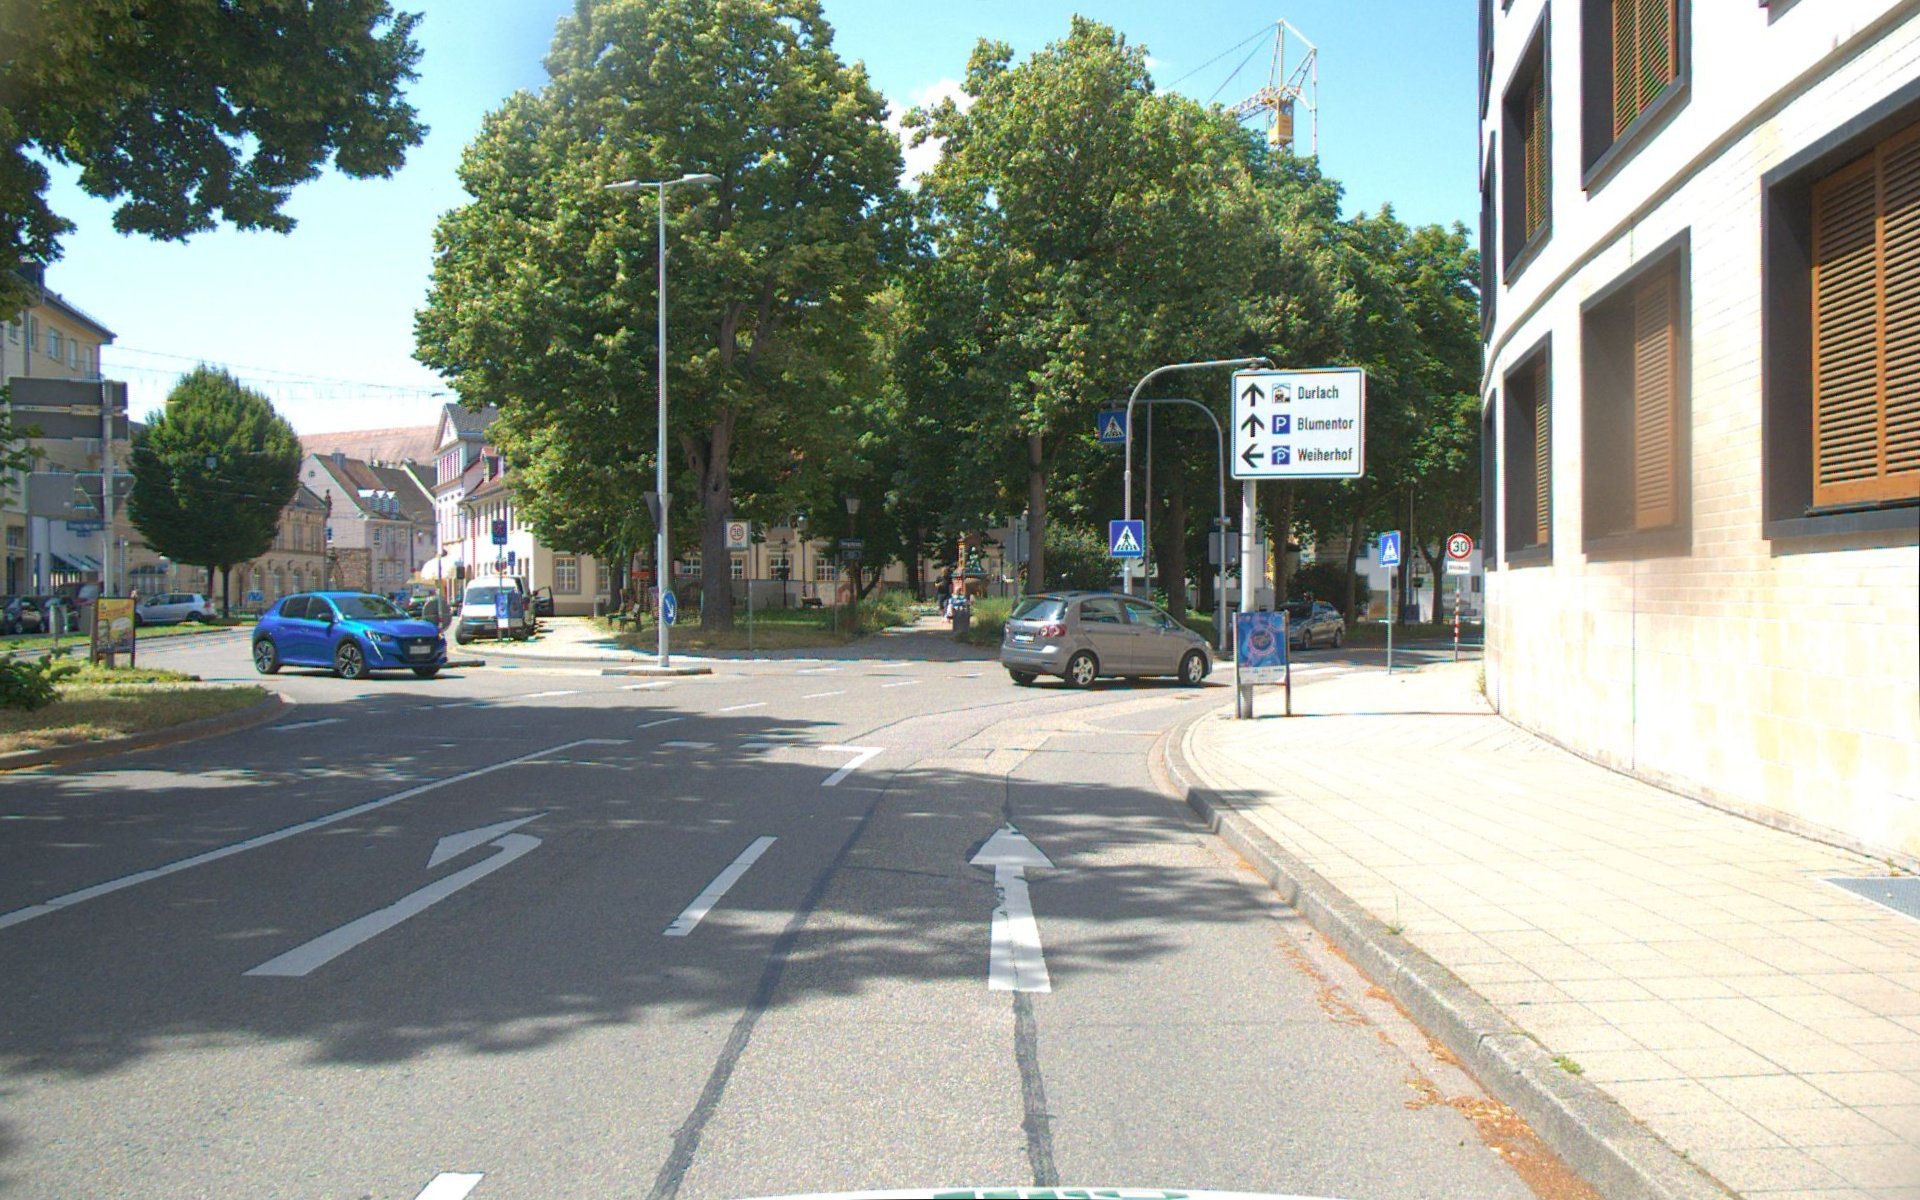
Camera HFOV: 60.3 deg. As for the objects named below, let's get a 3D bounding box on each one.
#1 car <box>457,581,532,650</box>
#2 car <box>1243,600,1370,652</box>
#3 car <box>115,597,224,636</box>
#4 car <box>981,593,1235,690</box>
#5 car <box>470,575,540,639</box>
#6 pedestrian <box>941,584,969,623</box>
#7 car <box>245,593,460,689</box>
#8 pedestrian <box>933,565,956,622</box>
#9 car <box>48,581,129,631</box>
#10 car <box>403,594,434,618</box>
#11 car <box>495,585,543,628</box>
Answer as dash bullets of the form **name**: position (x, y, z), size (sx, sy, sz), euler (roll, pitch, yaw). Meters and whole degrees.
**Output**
- **car**: position (-13.218, 0.395, 47.158), size (1.960, 1.858, 4.405), euler (0, 0, -14)
- **car**: position (10.760, 0.760, 51.211), size (4.373, 1.514, 1.715), euler (0, 0, -44)
- **car**: position (-35.718, 0.712, 74.870), size (4.139, 1.531, 1.993), euler (-3, 1, -19)
- **car**: position (2.604, 0.670, 28.740), size (4.194, 1.560, 1.886), euler (0, 0, -35)
- **car**: position (-15.181, 0.208, 55.401), size (2.014, 2.037, 5.232), euler (0, 0, -13)
- **pedestrian**: position (-0.161, 0.122, 55.396), size (0.887, 1.273, 1.148), euler (0, 2, 1)
- **car**: position (-10.766, 0.665, 29.225), size (3.924, 1.518, 1.807), euler (1, 2, 39)
- **pedestrian**: position (-0.528, -0.223, 56.304), size (0.732, 1.944, 0.684), euler (0, 2, 1)
- **car**: position (-36.158, 0.220, 68.764), size (1.822, 1.944, 4.753), euler (-3, 1, -14)
- **car**: position (-35.677, 0.372, 108.899), size (1.833, 1.512, 3.976), euler (0, 0, -21)
- **car**: position (-18.451, 0.253, 69.356), size (1.752, 1.723, 4.187), euler (0, 0, -13)
